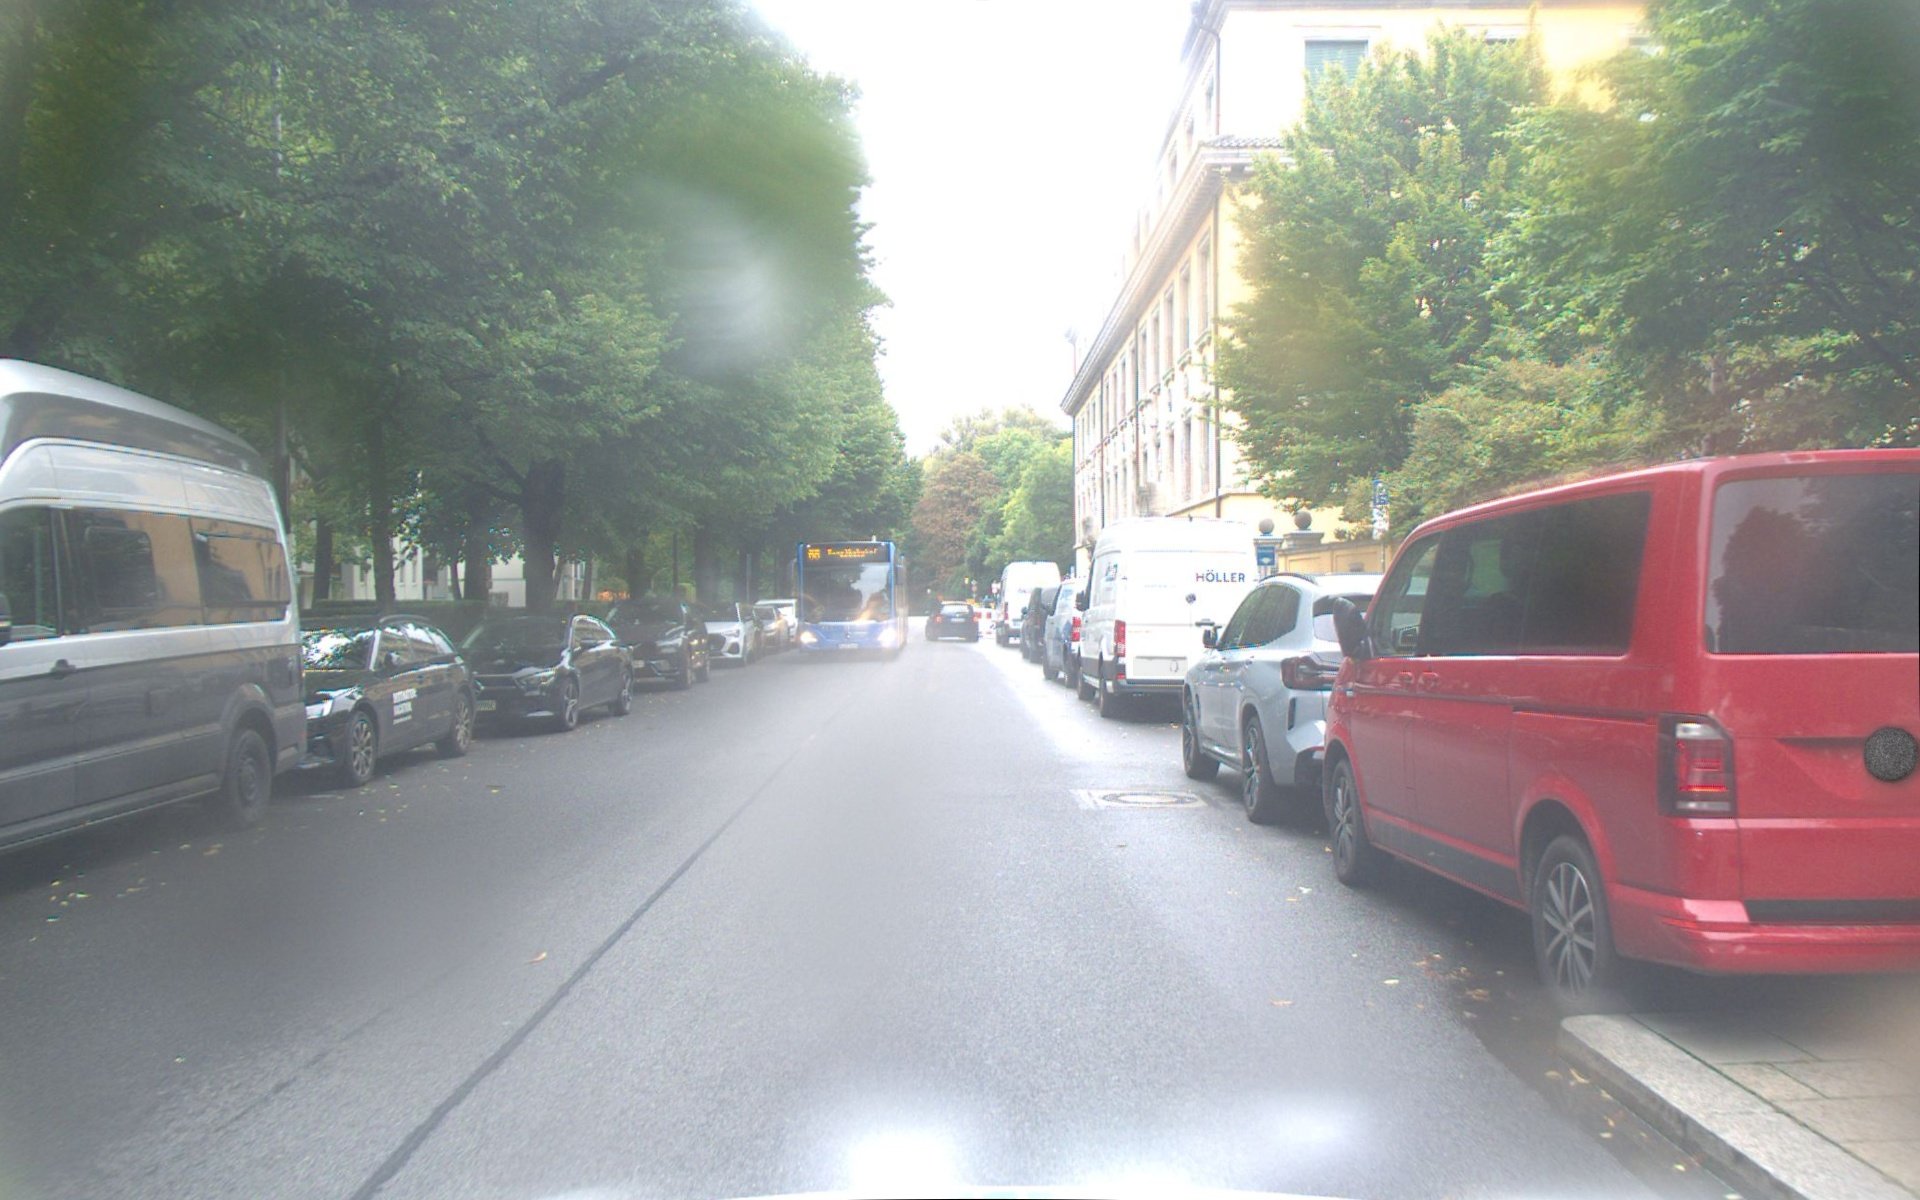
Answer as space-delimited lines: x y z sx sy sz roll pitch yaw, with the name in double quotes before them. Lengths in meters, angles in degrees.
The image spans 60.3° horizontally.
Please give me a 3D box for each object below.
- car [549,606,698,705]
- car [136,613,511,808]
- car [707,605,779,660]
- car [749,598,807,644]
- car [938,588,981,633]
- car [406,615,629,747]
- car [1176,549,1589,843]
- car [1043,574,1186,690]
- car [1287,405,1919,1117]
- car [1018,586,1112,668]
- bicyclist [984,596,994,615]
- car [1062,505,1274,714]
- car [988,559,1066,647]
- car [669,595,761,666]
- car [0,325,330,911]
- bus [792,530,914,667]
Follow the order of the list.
"car" -5.478 0.889 27.356 1.754 1.479 3.947 -1 -1 -2
"car" -5.797 0.914 15.732 1.753 1.463 4.578 -1 1 0
"car" -6.196 0.910 47.524 1.638 1.495 4.102 -1 0 -2
"car" -6.224 0.725 56.931 1.638 1.495 4.102 -1 0 -2
"car" -0.004 0.389 61.500 1.545 1.611 4.044 -1 0 0
"car" -5.511 0.964 21.178 1.754 1.463 4.549 -1 -1 -2
"car" 2.864 0.590 12.313 1.821 1.772 4.601 0 0 -1
"car" 2.722 0.547 30.307 1.973 1.940 5.162 0 0 -2
"car" 3.013 0.485 7.432 1.821 2.002 5.442 -1 -1 -2
"car" 2.568 0.648 41.571 1.833 1.902 4.984 -1 0 -2
"bicyclist" 2.415 0.445 138.156 0.668 1.530 0.899 -1 0 -9
"car" 2.736 0.159 23.219 2.053 2.531 5.737 -1 -1 -2
"car" 2.171 0.124 55.983 2.013 2.720 7.610 -1 0 -2
"car" -6.030 0.730 41.191 1.748 1.625 4.582 -1 0 -2
"car" -5.759 0.127 9.706 1.906 2.904 6.233 -1 -1 -2
"bus" -2.863 0.122 49.647 2.801 3.296 18.419 -1 -1 -1
